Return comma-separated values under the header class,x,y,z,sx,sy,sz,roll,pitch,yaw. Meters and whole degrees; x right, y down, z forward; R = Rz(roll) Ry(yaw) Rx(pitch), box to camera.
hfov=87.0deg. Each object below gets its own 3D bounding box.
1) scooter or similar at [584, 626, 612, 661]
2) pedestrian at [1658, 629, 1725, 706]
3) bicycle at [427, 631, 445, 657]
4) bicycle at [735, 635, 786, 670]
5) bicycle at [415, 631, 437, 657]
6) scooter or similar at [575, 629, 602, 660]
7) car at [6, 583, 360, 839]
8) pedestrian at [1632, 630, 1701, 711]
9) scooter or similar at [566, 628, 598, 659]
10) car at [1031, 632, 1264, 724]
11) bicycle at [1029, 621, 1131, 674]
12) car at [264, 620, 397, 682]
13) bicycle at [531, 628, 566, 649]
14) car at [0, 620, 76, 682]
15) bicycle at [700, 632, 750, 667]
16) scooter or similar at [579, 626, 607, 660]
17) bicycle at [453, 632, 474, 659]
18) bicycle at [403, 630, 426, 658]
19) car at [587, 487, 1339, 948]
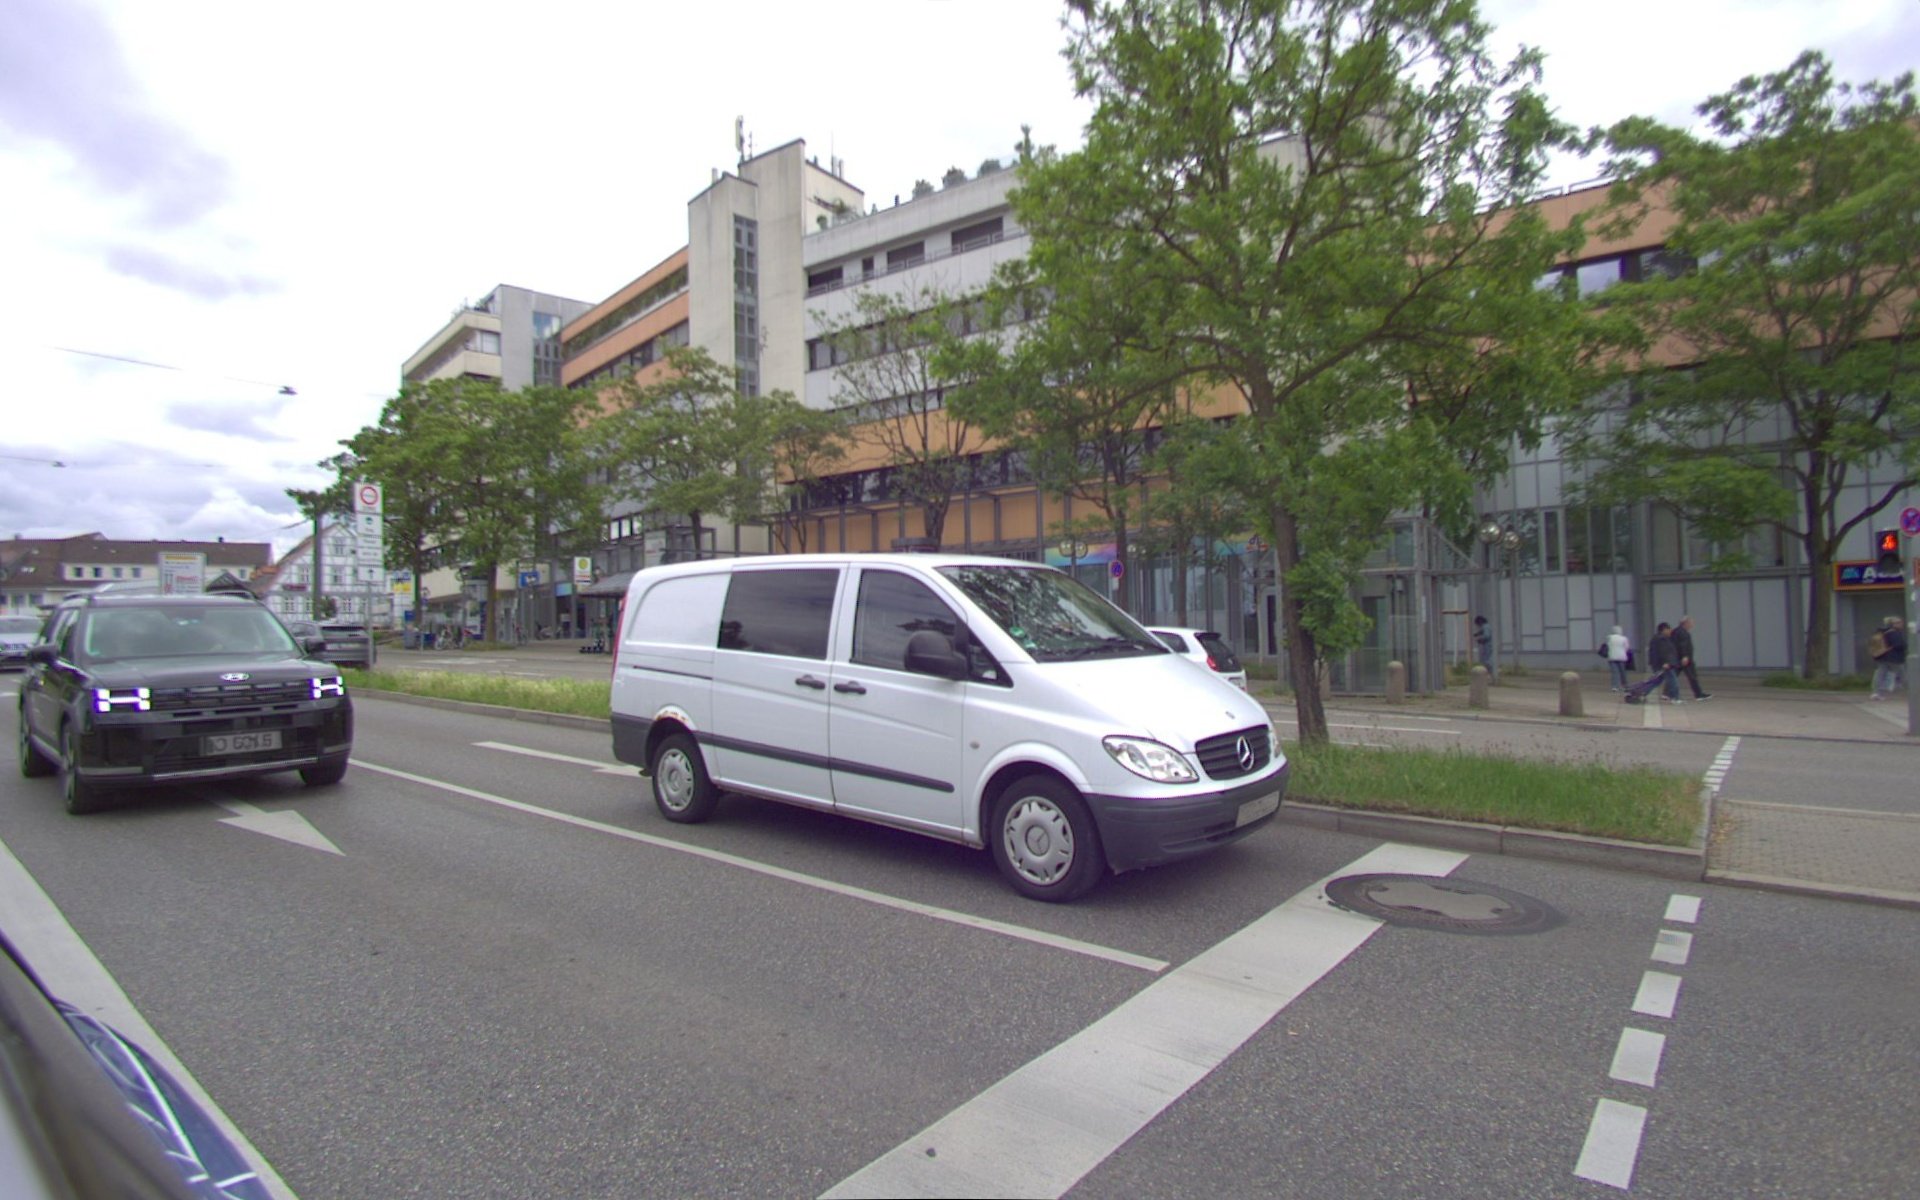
class,x,y,z,sx,sy,sz,roll,pitch,yaw
scooter or similar,-15.144,1.802,42.386,0.259,1.434,1.192,-1,-2,33
pedestrian,14.288,1.306,19.786,0.860,1.469,0.602,-1,0,7
bicycle,-25.578,2.148,49.385,0.425,1.263,1.474,0,-2,-14
bicycle,-7.122,1.853,36.245,0.708,1.162,2.054,-1,-1,25
bicycle,-26.261,2.169,49.753,0.616,1.263,1.688,0,-2,-16
scooter or similar,-15.646,1.858,42.607,0.267,1.305,1.118,-1,-2,32
car,-7.307,0.826,9.306,4.679,1.765,1.901,-2,-2,44
pedestrian,13.278,1.314,19.044,0.860,1.469,0.602,0,-1,6
scooter or similar,-15.973,1.822,42.765,0.338,1.279,1.311,-1,0,33
car,3.478,1.376,19.109,3.995,1.529,1.730,-1,-2,38
bicycle,3.107,1.209,26.257,2.420,1.280,1.042,-1,0,37
car,-17.604,1.383,28.206,4.515,1.586,1.972,-1,-2,42
bicycle,-26.171,2.458,64.335,1.940,1.329,0.707,1,-2,-33
car,-28.103,1.488,29.953,4.384,1.662,1.976,-2,-1,36
bicycle,-8.729,1.828,37.687,0.708,1.162,2.054,-1,1,25
scooter or similar,-15.396,1.794,42.492,0.221,1.396,1.192,-1,-2,33
bicycle,-23.799,2.157,48.533,0.616,1.263,1.688,1,-2,-17
bicycle,-25.596,2.057,47.505,0.616,1.263,1.688,1,-2,-17
car,-0.344,0.566,6.832,5.073,2.029,1.854,-2,-1,41
